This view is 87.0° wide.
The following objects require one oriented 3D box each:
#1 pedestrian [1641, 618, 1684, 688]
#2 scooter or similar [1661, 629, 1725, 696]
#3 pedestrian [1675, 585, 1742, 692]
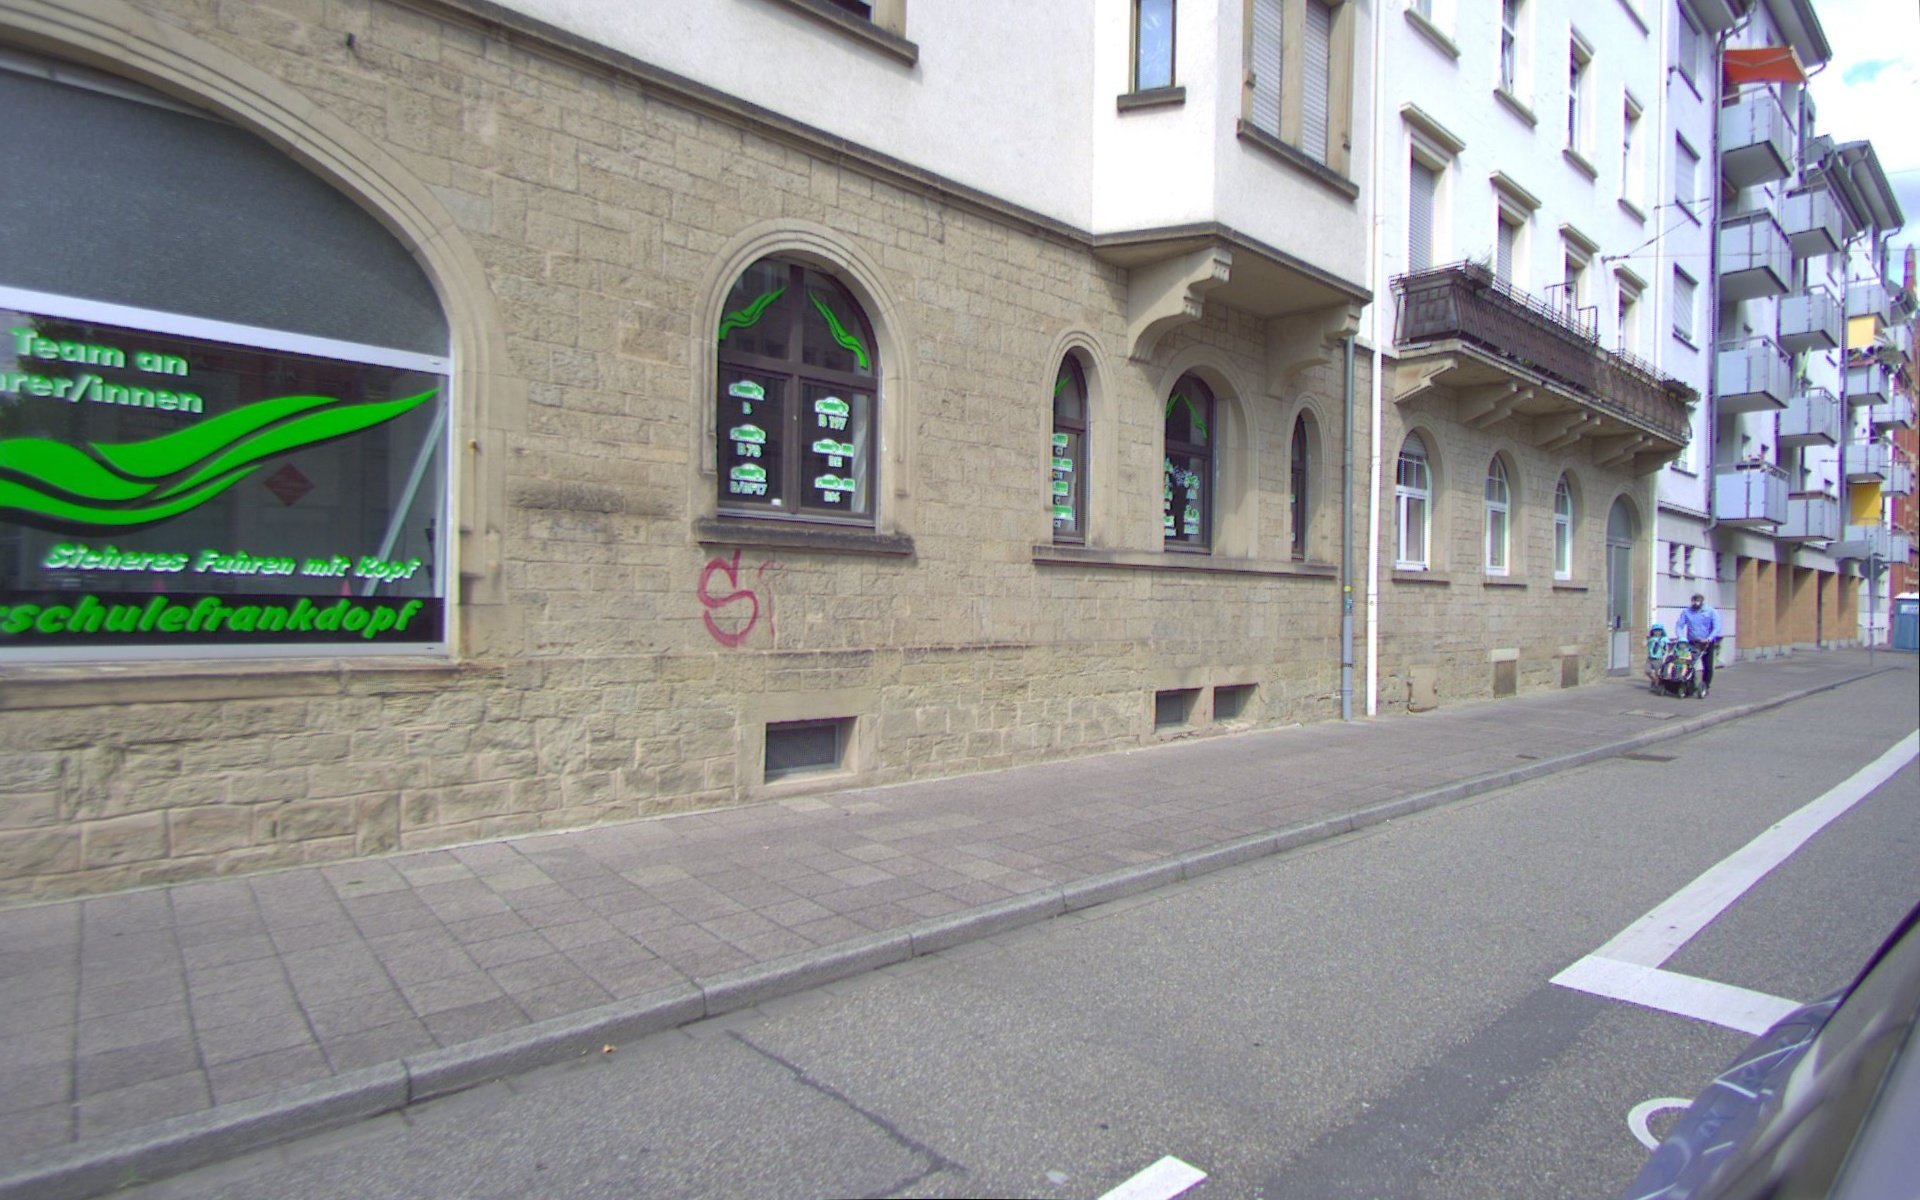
[{"bbox_3d":[12.195,0.909,17.559,0.485,1.149,0.457,1,2,-40],"label":"pedestrian"},{"bbox_3d":[12.204,1.025,16.854,0.889,1.014,0.594,1,4,-40],"label":"scooter or similar"},{"bbox_3d":[12.869,0.645,17.404,0.862,1.759,0.622,1,4,-40],"label":"pedestrian"}]
